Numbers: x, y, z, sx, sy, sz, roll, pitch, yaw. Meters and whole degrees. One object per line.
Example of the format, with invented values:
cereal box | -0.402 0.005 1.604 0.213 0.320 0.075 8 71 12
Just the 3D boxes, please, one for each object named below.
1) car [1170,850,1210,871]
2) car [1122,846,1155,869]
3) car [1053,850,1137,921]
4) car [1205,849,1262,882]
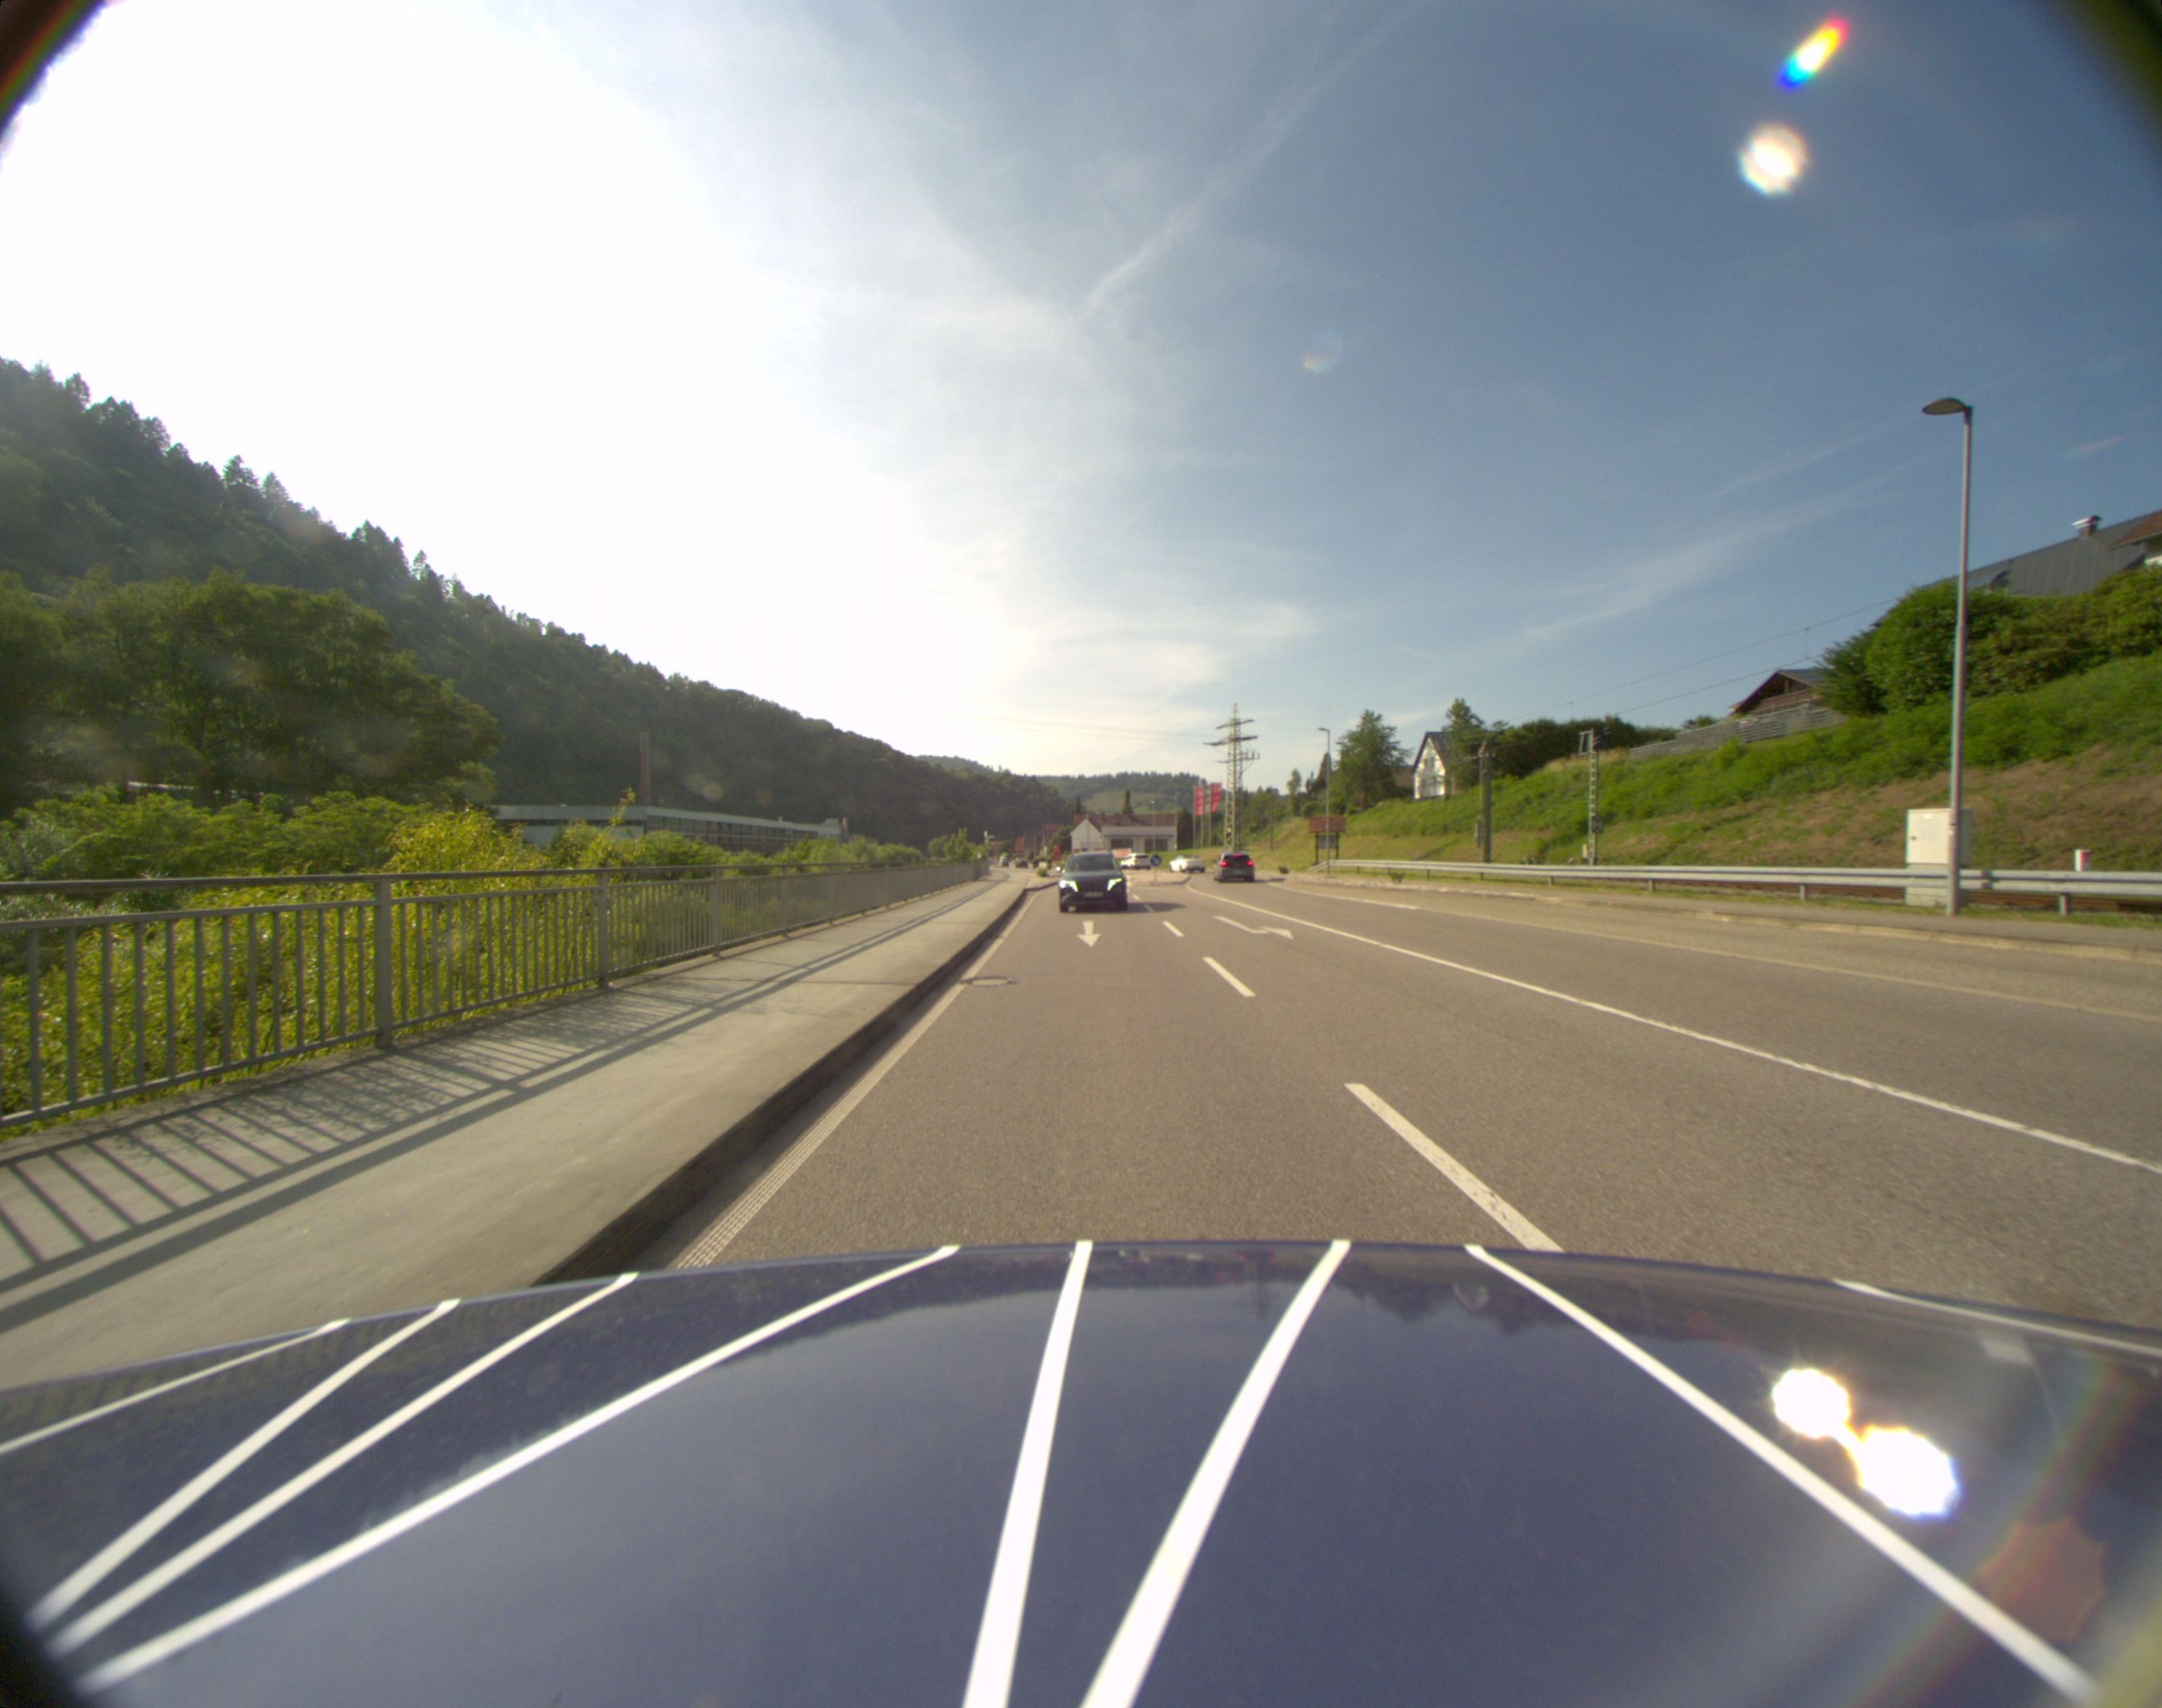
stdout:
car | 8.351 0.487 58.429 2.000 1.434 3.997 -2 1 -8
car | 5.298 0.304 70.786 2.000 2.002 3.996 -2 1 -11
car | 0.383 0.783 21.439 1.998 1.661 5.511 -2 0 1
car | 7.667 0.534 38.599 1.999 1.521 3.999 -2 1 -1
